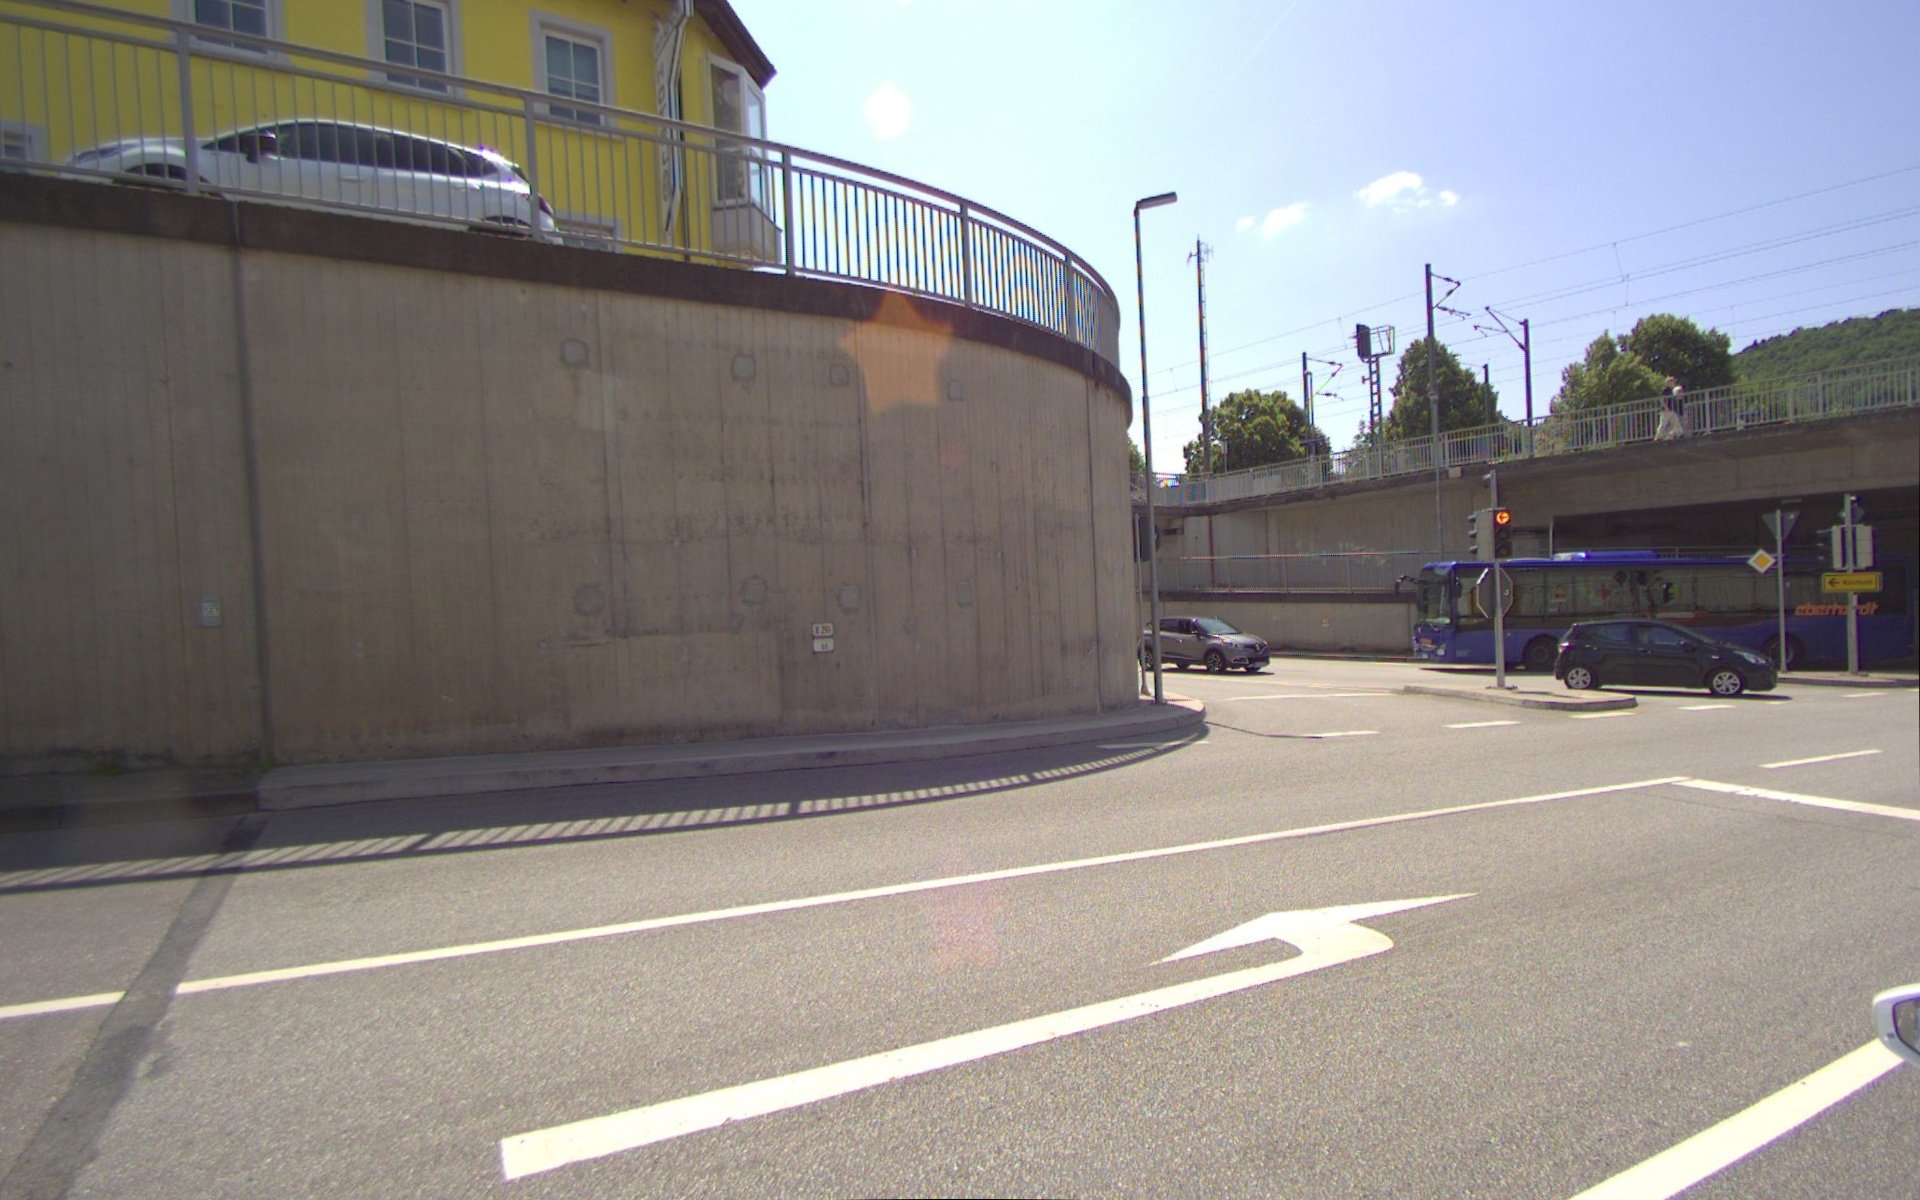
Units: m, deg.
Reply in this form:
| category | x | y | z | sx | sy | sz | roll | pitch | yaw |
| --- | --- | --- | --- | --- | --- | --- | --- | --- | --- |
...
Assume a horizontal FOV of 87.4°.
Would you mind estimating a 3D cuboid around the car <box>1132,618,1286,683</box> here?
| category | x | y | z | sx | sy | sz | roll | pitch | yaw |
| --- | --- | --- | --- | --- | --- | --- | --- | --- | --- |
| car | 7.043 | 1.366 | 28.742 | 1.981 | 1.610 | 3.959 | -1 | 1 | -36 |

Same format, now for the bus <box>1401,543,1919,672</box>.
| category | x | y | z | sx | sy | sz | roll | pitch | yaw |
| --- | --- | --- | --- | --- | --- | --- | --- | --- | --- |
| bus | 18.937 | 0.225 | 27.789 | 12.127 | 3.215 | 2.590 | -1 | 1 | 5 |

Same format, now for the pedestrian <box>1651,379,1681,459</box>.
| category | x | y | z | sx | sy | sz | roll | pitch | yaw |
| --- | --- | --- | --- | --- | --- | --- | --- | --- | --- |
| pedestrian | 20.047 | -5.117 | 28.517 | 0.531 | 2.108 | 0.571 | 1 | -1 | -40 |

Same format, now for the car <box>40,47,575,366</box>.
| category | x | y | z | sx | sy | sz | roll | pitch | yaw |
| --- | --- | --- | --- | --- | --- | --- | --- | --- | --- |
| car | -6.007 | -3.517 | 9.738 | 3.955 | 1.690 | 1.892 | -1 | 1 | -32 |

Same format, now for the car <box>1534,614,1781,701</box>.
| category | x | y | z | sx | sy | sz | roll | pitch | yaw |
| --- | --- | --- | --- | --- | --- | --- | --- | --- | --- |
| car | 13.990 | 1.075 | 20.268 | 3.938 | 1.528 | 1.991 | 0 | 0 | 39 |
